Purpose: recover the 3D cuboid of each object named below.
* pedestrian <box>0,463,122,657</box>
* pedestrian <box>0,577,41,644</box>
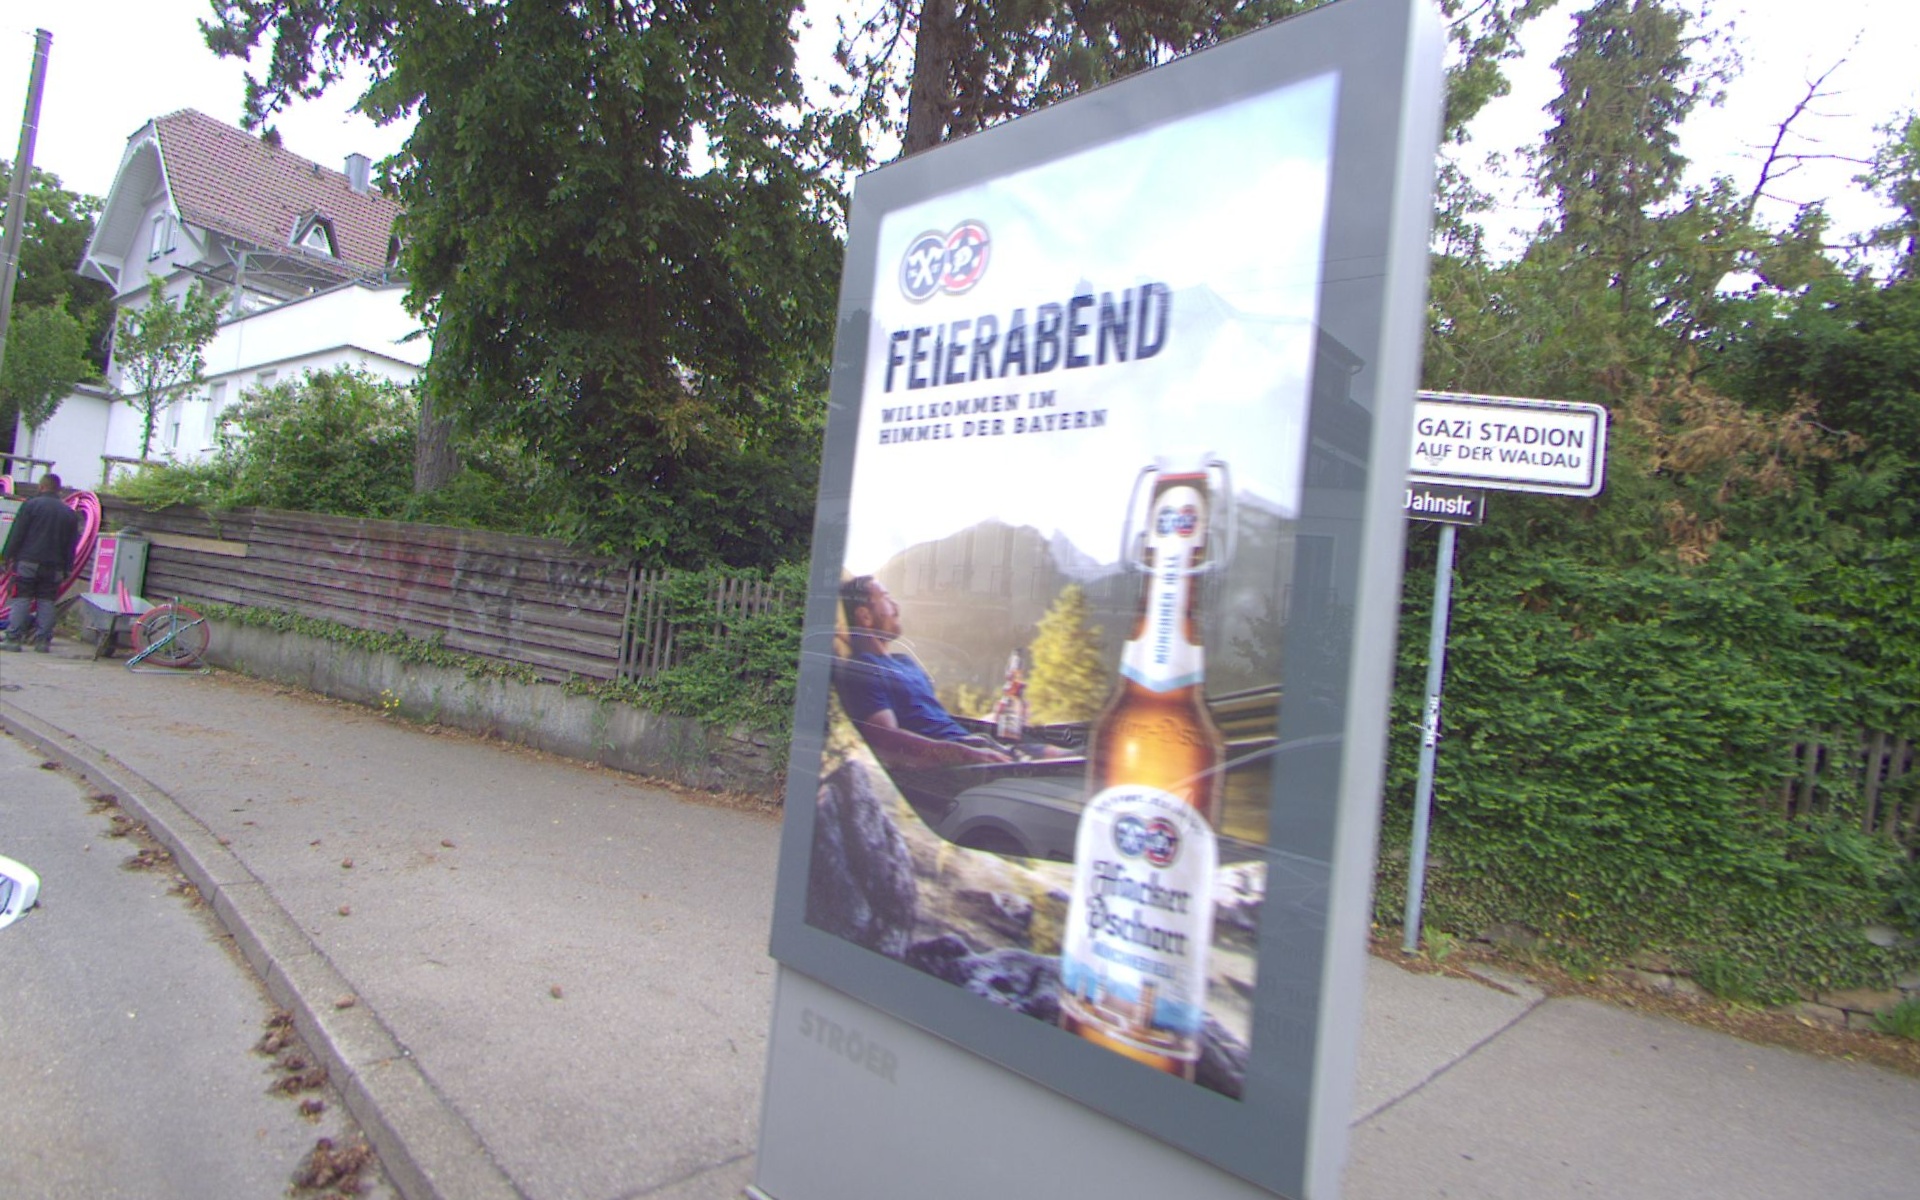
[{"bbox_3d":[-9.936,-0.414,10.863,0.786,1.945,0.849,8,-1,15],"label":"pedestrian"},{"bbox_3d":[-10.941,0.099,11.285,0.575,0.704,0.646,8,-2,-6],"label":"pedestrian"}]
